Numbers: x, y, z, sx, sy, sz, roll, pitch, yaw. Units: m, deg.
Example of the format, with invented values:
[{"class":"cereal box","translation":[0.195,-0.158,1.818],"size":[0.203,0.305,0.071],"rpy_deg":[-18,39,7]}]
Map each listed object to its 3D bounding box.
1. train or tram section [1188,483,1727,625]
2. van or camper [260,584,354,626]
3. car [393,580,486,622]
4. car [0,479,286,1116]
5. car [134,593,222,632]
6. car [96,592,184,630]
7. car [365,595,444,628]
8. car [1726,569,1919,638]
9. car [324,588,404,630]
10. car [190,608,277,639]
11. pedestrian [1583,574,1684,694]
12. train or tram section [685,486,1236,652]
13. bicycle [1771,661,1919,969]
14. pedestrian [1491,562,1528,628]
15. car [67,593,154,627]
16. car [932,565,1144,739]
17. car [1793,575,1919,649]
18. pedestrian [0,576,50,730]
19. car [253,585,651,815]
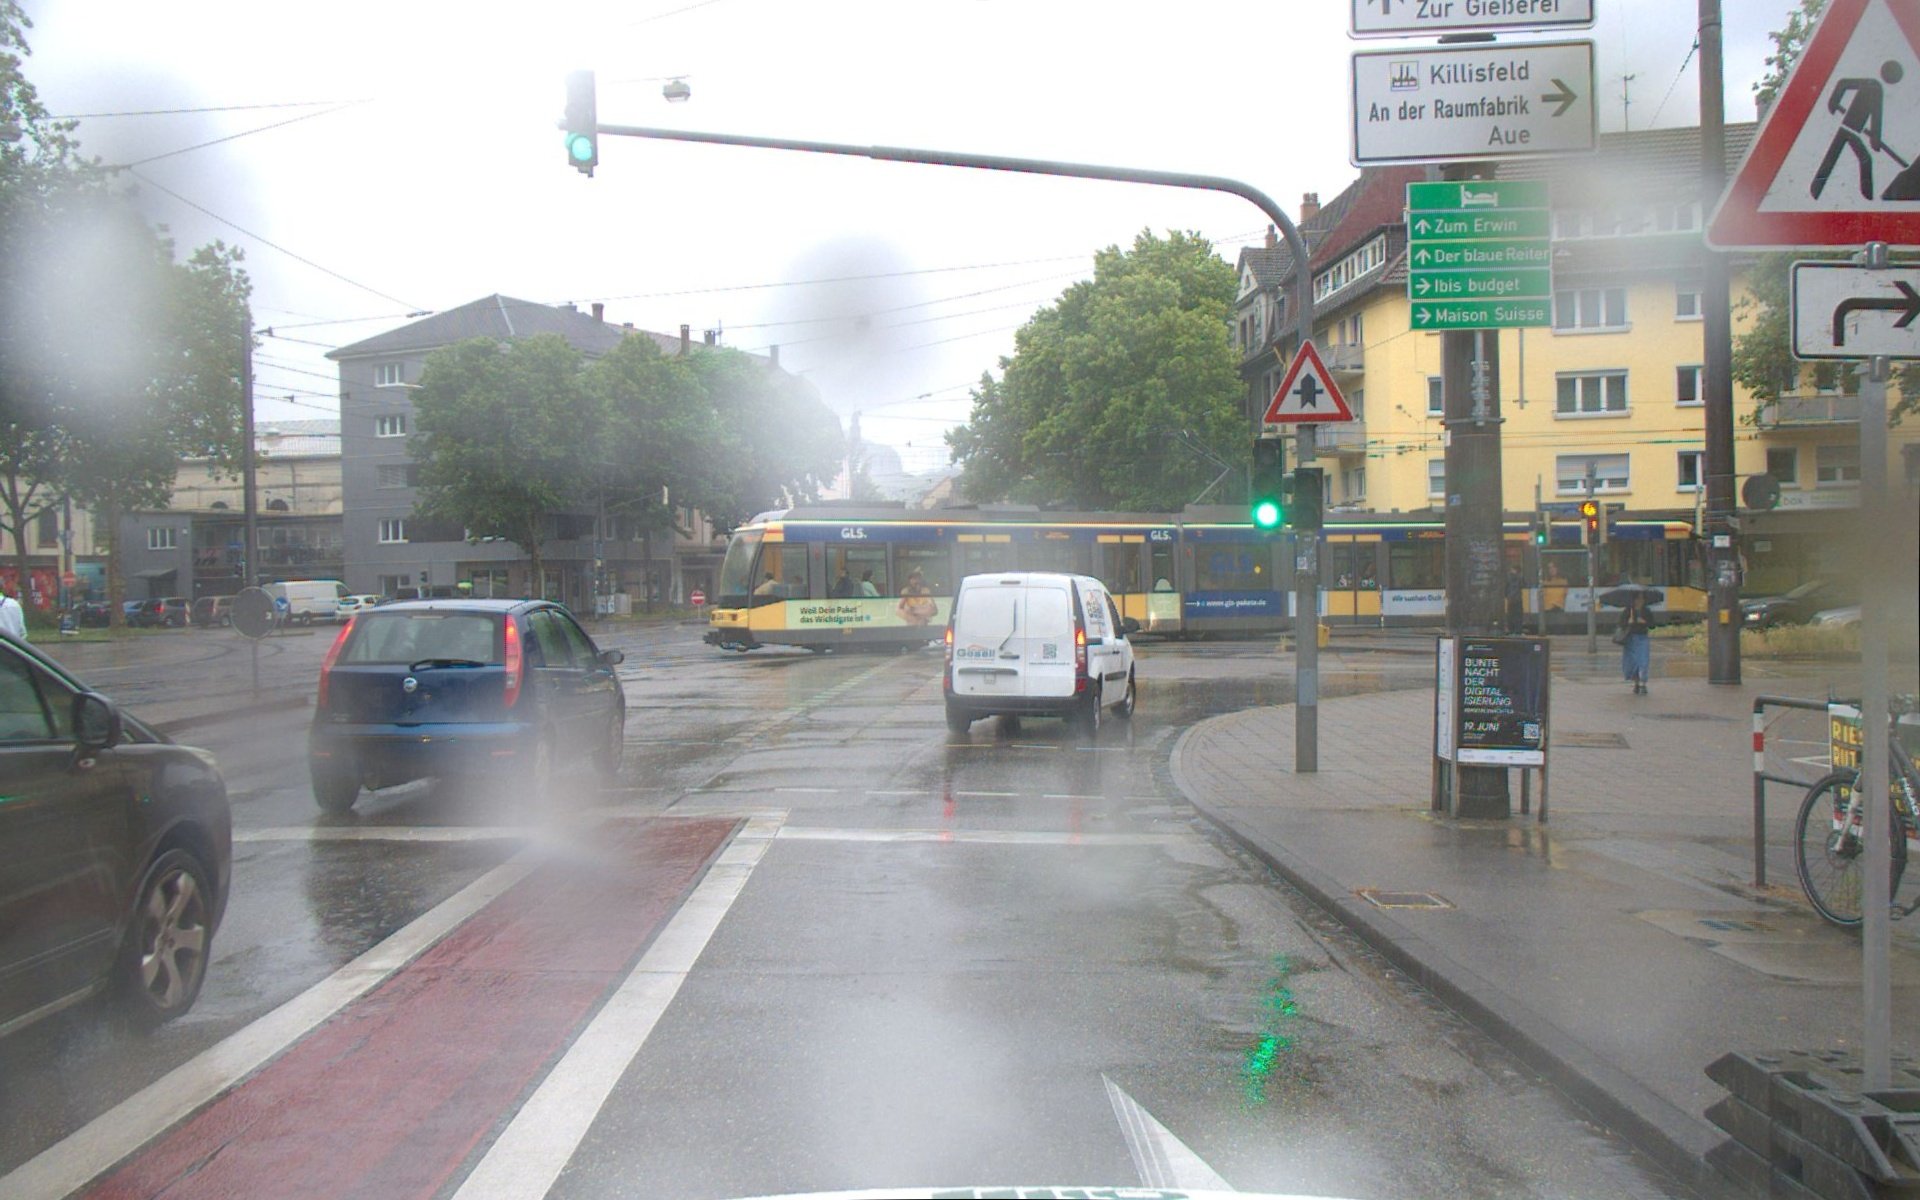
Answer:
[{"class":"train or tram section","translation":[13.753,-1.309,46.104],"size":[14.346,3.620,3.112],"rpy_deg":[-1,1,-6]},{"class":"van or camper","translation":[-34.274,0.247,86.976],"size":[1.953,2.111,4.654],"rpy_deg":[0,0,22]},{"class":"car","translation":[-26.633,0.015,84.697],"size":[2.022,2.048,4.391],"rpy_deg":[1,1,29]},{"class":"car","translation":[-3.503,0.542,4.307],"size":[1.764,1.739,4.191],"rpy_deg":[0,1,0]},{"class":"car","translation":[-42.944,0.683,90.913],"size":[1.956,2.049,3.993],"rpy_deg":[1,0,29]},{"class":"car","translation":[-45.551,0.599,91.949],"size":[1.958,1.962,3.989],"rpy_deg":[1,1,33]},{"class":"car","translation":[-28.981,0.602,86.458],"size":[1.909,1.654,4.002],"rpy_deg":[1,0,18]},{"class":"car","translation":[20.666,0.072,39.198],"size":[4.179,1.528,1.881],"rpy_deg":[-1,1,8]},{"class":"car","translation":[-31.293,0.458,86.921],"size":[1.951,2.048,4.003],"rpy_deg":[0,1,16]},{"class":"car","translation":[-39.061,1.285,88.990],"size":[1.953,1.642,3.998],"rpy_deg":[0,-1,24]},{"class":"pedestrian","translation":[9.881,0.478,24.265],"size":[1.087,1.696,0.991],"rpy_deg":[1,1,43]},{"class":"train or tram section","translation":[0.447,-0.887,41.205],"size":[14.393,3.620,3.081],"rpy_deg":[-2,2,-33]},{"class":"bicycle","translation":[4.132,0.914,7.008],"size":[0.413,1.188,1.792],"rpy_deg":[2,1,-2]},{"class":"pedestrian","translation":[14.604,-0.140,43.947],"size":[0.796,1.706,1.016],"rpy_deg":[0,1,25]},{"class":"car","translation":[-48.454,0.571,94.435],"size":[1.956,1.794,3.994],"rpy_deg":[-1,1,29]},{"class":"car","translation":[1.044,0.508,19.775],"size":[1.863,1.828,4.117],"rpy_deg":[0,1,12]},{"class":"car","translation":[20.762,0.241,36.005],"size":[4.390,1.515,1.742],"rpy_deg":[-1,1,13]},{"class":"pedestrian","translation":[-10.377,0.565,17.959],"size":[0.728,1.638,0.707],"rpy_deg":[-1,1,-39]},{"class":"car","translation":[-3.658,0.664,12.658],"size":[1.844,1.485,3.831],"rpy_deg":[0,0,0]}]
